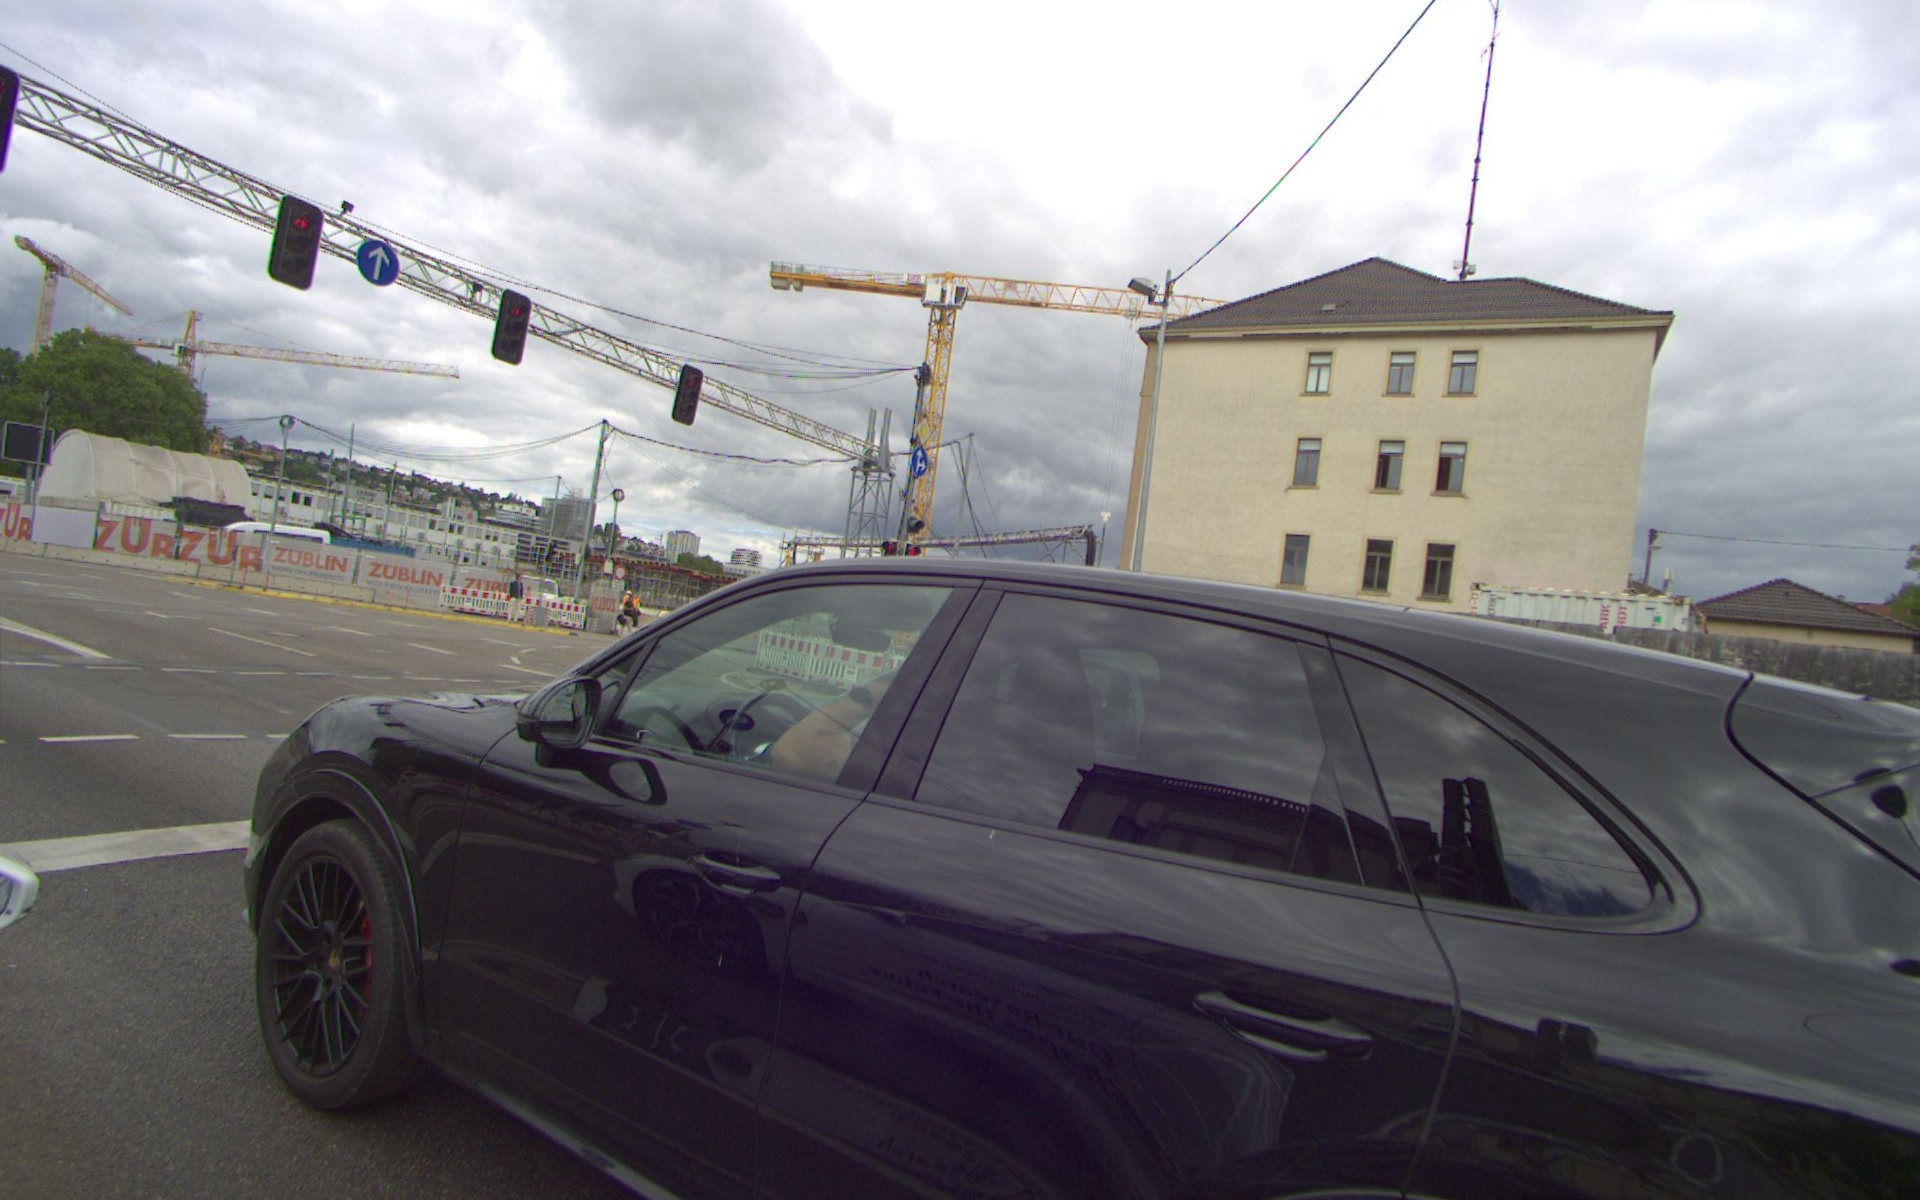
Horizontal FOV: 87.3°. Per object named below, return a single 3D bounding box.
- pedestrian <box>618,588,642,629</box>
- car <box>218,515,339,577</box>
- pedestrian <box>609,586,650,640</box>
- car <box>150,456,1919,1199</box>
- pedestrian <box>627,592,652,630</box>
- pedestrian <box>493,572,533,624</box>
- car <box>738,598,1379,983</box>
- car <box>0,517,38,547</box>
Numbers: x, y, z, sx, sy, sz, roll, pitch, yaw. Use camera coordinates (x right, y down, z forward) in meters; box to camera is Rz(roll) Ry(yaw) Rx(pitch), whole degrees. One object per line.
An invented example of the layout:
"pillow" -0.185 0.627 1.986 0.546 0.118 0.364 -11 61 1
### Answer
"pedestrian" -17.644 0.448 53.826 0.855 2.037 0.677 6 -1 44
"car" -29.529 -2.324 43.645 3.976 2.037 1.976 9 -2 -43
"pedestrian" -13.511 0.514 41.163 1.040 2.037 1.022 8 -1 -43
"car" -0.009 0.689 2.715 4.505 1.687 1.996 6 -2 34
"pedestrian" -17.407 0.614 54.708 0.850 1.938 0.680 7 -1 26
"pedestrian" -17.421 -0.065 39.182 1.040 1.869 0.781 8 -1 -42
"car" 0.573 0.998 6.552 3.587 1.527 1.825 6 -2 33
"car" -55.589 -4.120 56.574 2.194 1.435 5.157 7 -2 9
